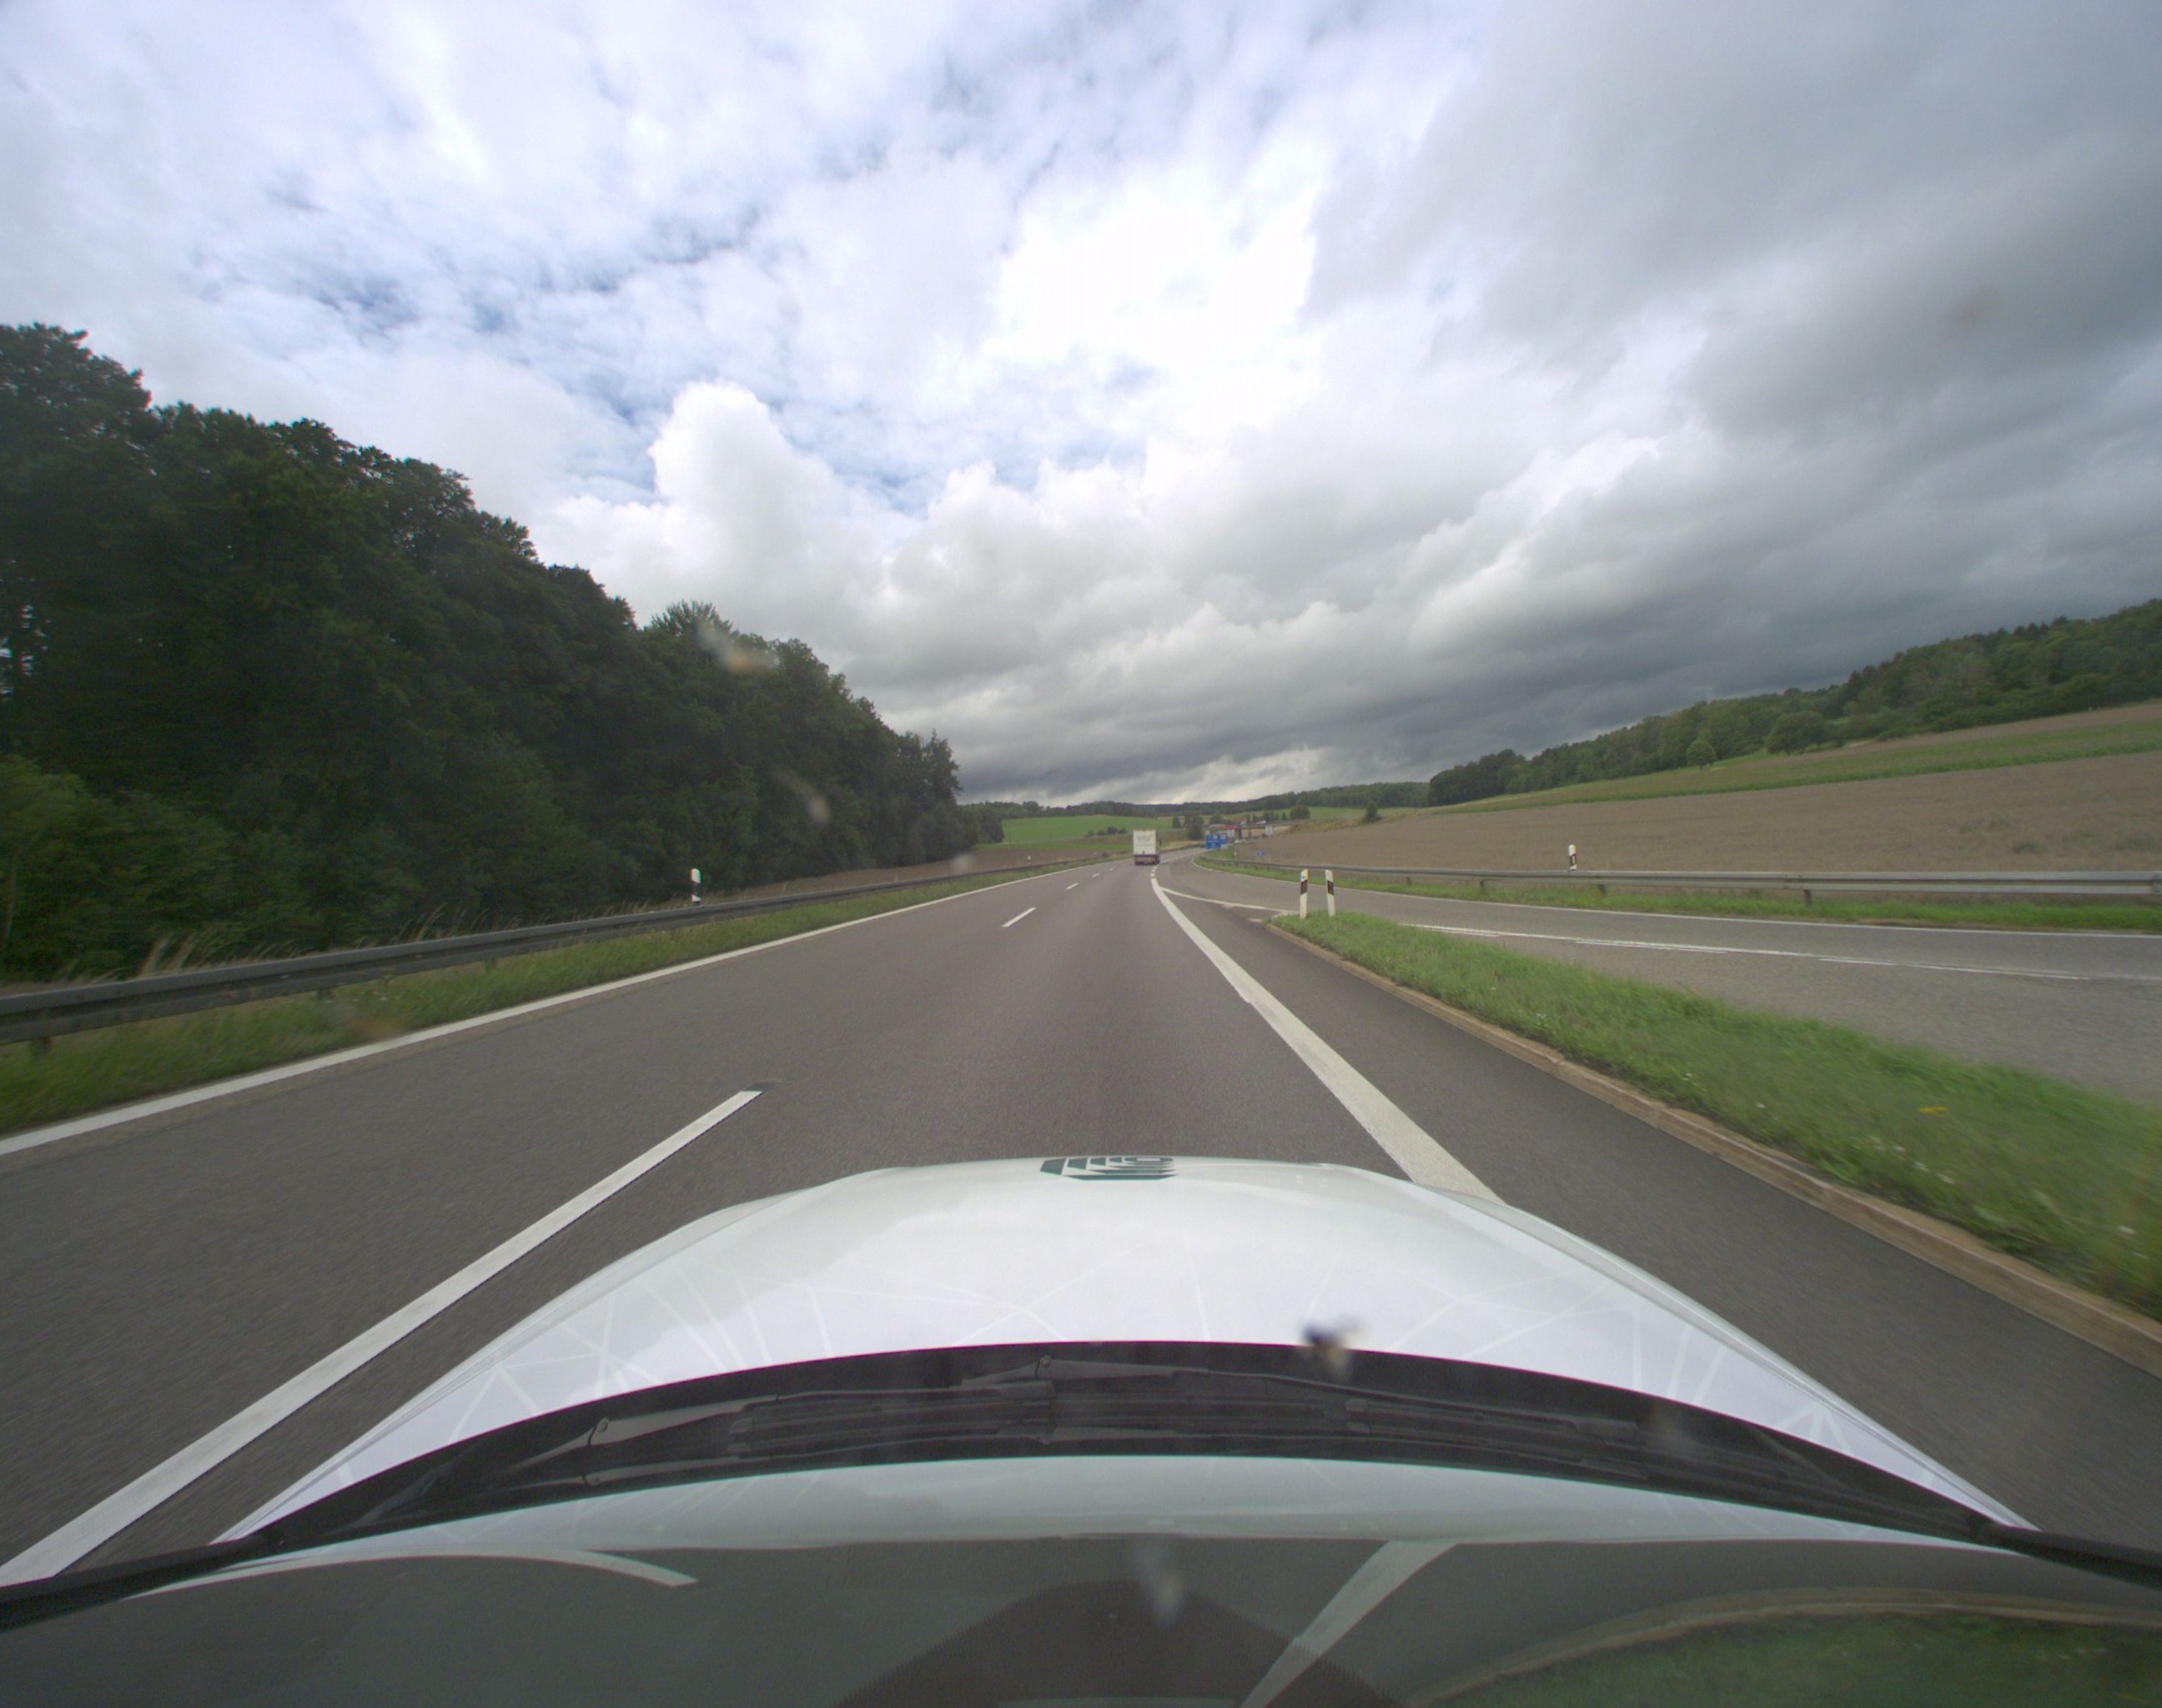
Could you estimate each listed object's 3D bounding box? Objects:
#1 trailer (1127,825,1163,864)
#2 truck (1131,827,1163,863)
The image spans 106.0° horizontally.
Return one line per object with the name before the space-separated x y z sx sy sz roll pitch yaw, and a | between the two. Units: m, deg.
trailer | 7.731 -1.060 96.088 3.787 4.174 14.831 -2 0 6
truck | 8.415 -1.098 102.742 3.769 4.132 8.277 -2 0 5
